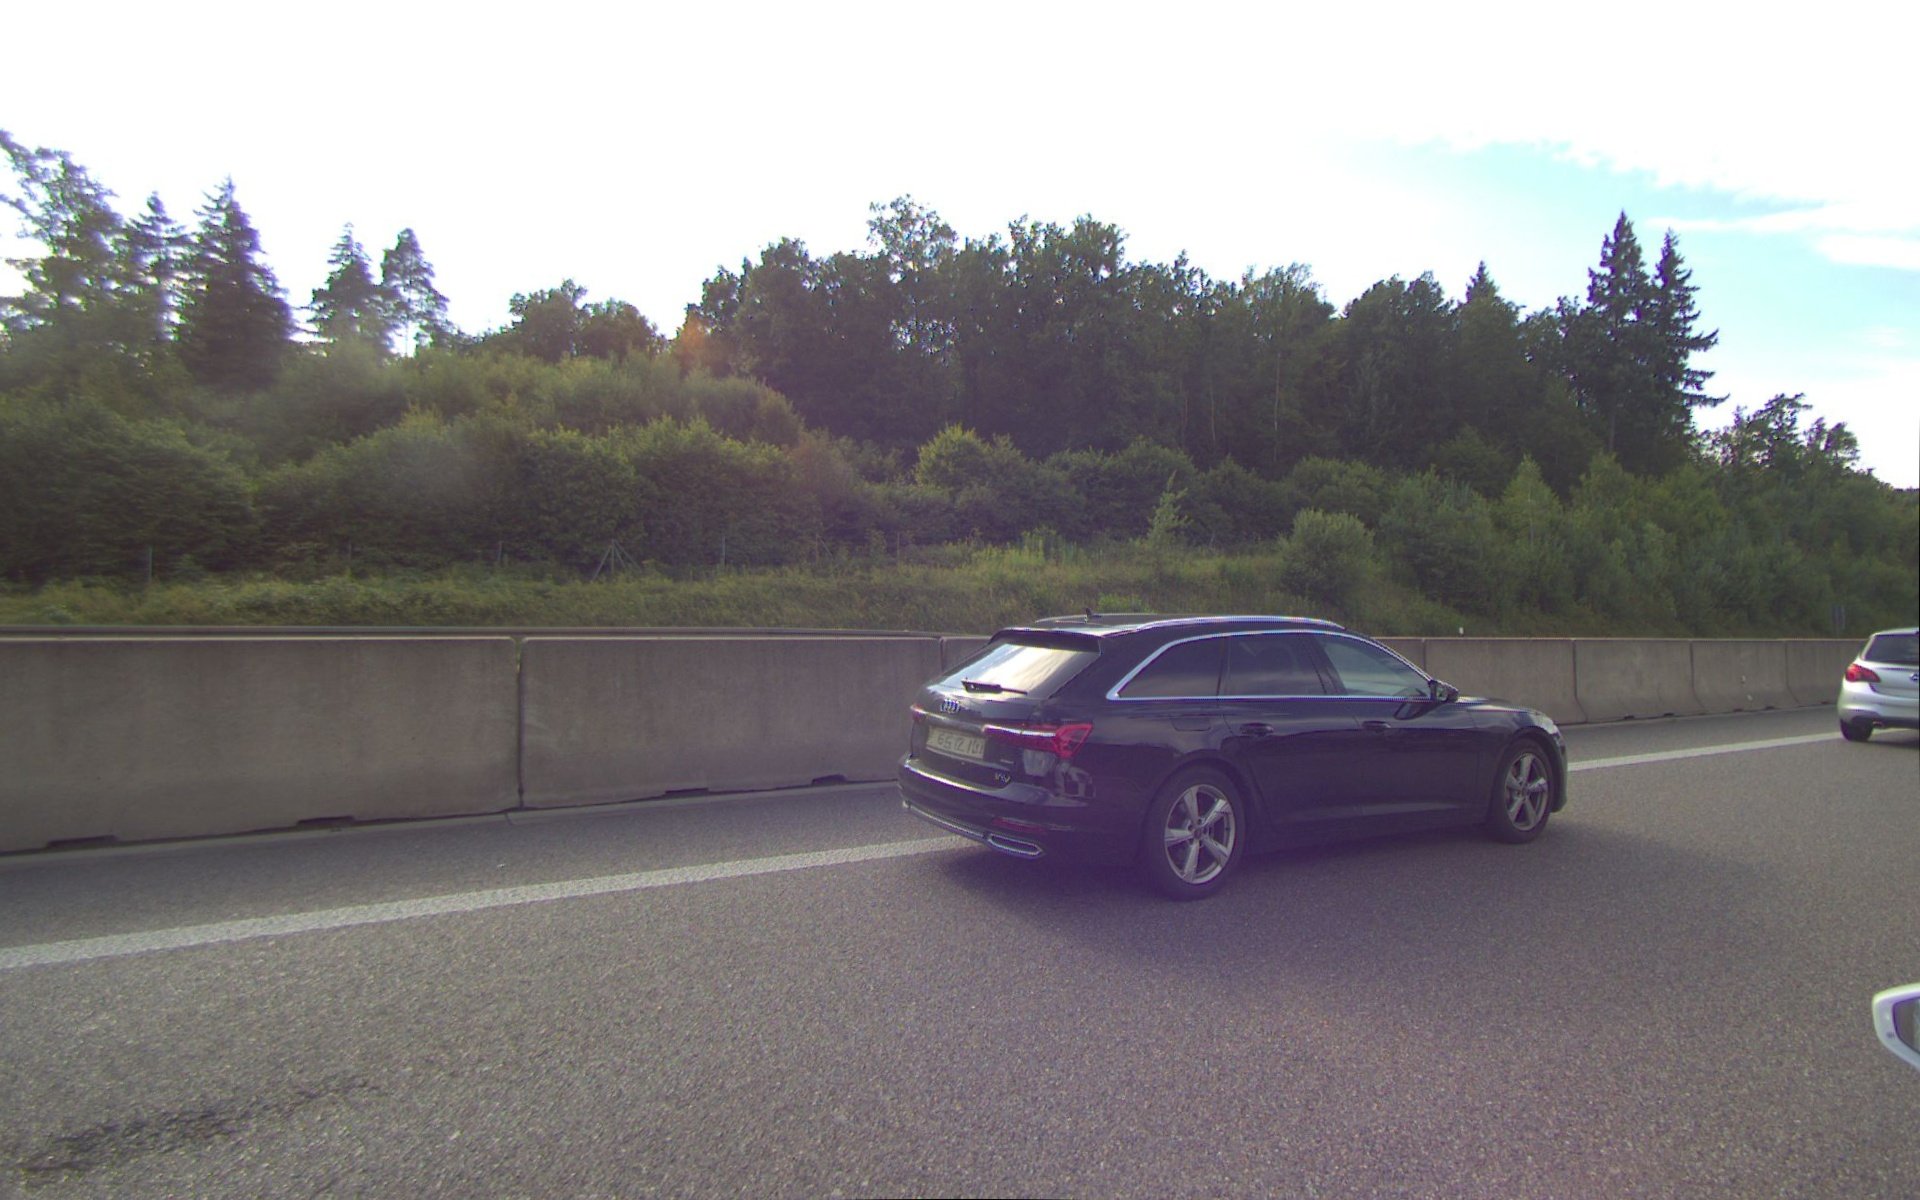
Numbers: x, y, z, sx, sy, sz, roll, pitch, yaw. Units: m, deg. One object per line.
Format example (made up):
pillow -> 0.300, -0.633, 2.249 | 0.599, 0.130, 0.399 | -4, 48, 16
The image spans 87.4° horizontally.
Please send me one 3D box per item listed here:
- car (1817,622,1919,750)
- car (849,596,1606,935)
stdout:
car -> 12.917, 1.050, 12.906 | 3.994, 1.485, 1.738 | 1, -1, -31
car -> 1.869, 0.778, 6.474 | 4.794, 1.491, 1.873 | 1, 0, -30
